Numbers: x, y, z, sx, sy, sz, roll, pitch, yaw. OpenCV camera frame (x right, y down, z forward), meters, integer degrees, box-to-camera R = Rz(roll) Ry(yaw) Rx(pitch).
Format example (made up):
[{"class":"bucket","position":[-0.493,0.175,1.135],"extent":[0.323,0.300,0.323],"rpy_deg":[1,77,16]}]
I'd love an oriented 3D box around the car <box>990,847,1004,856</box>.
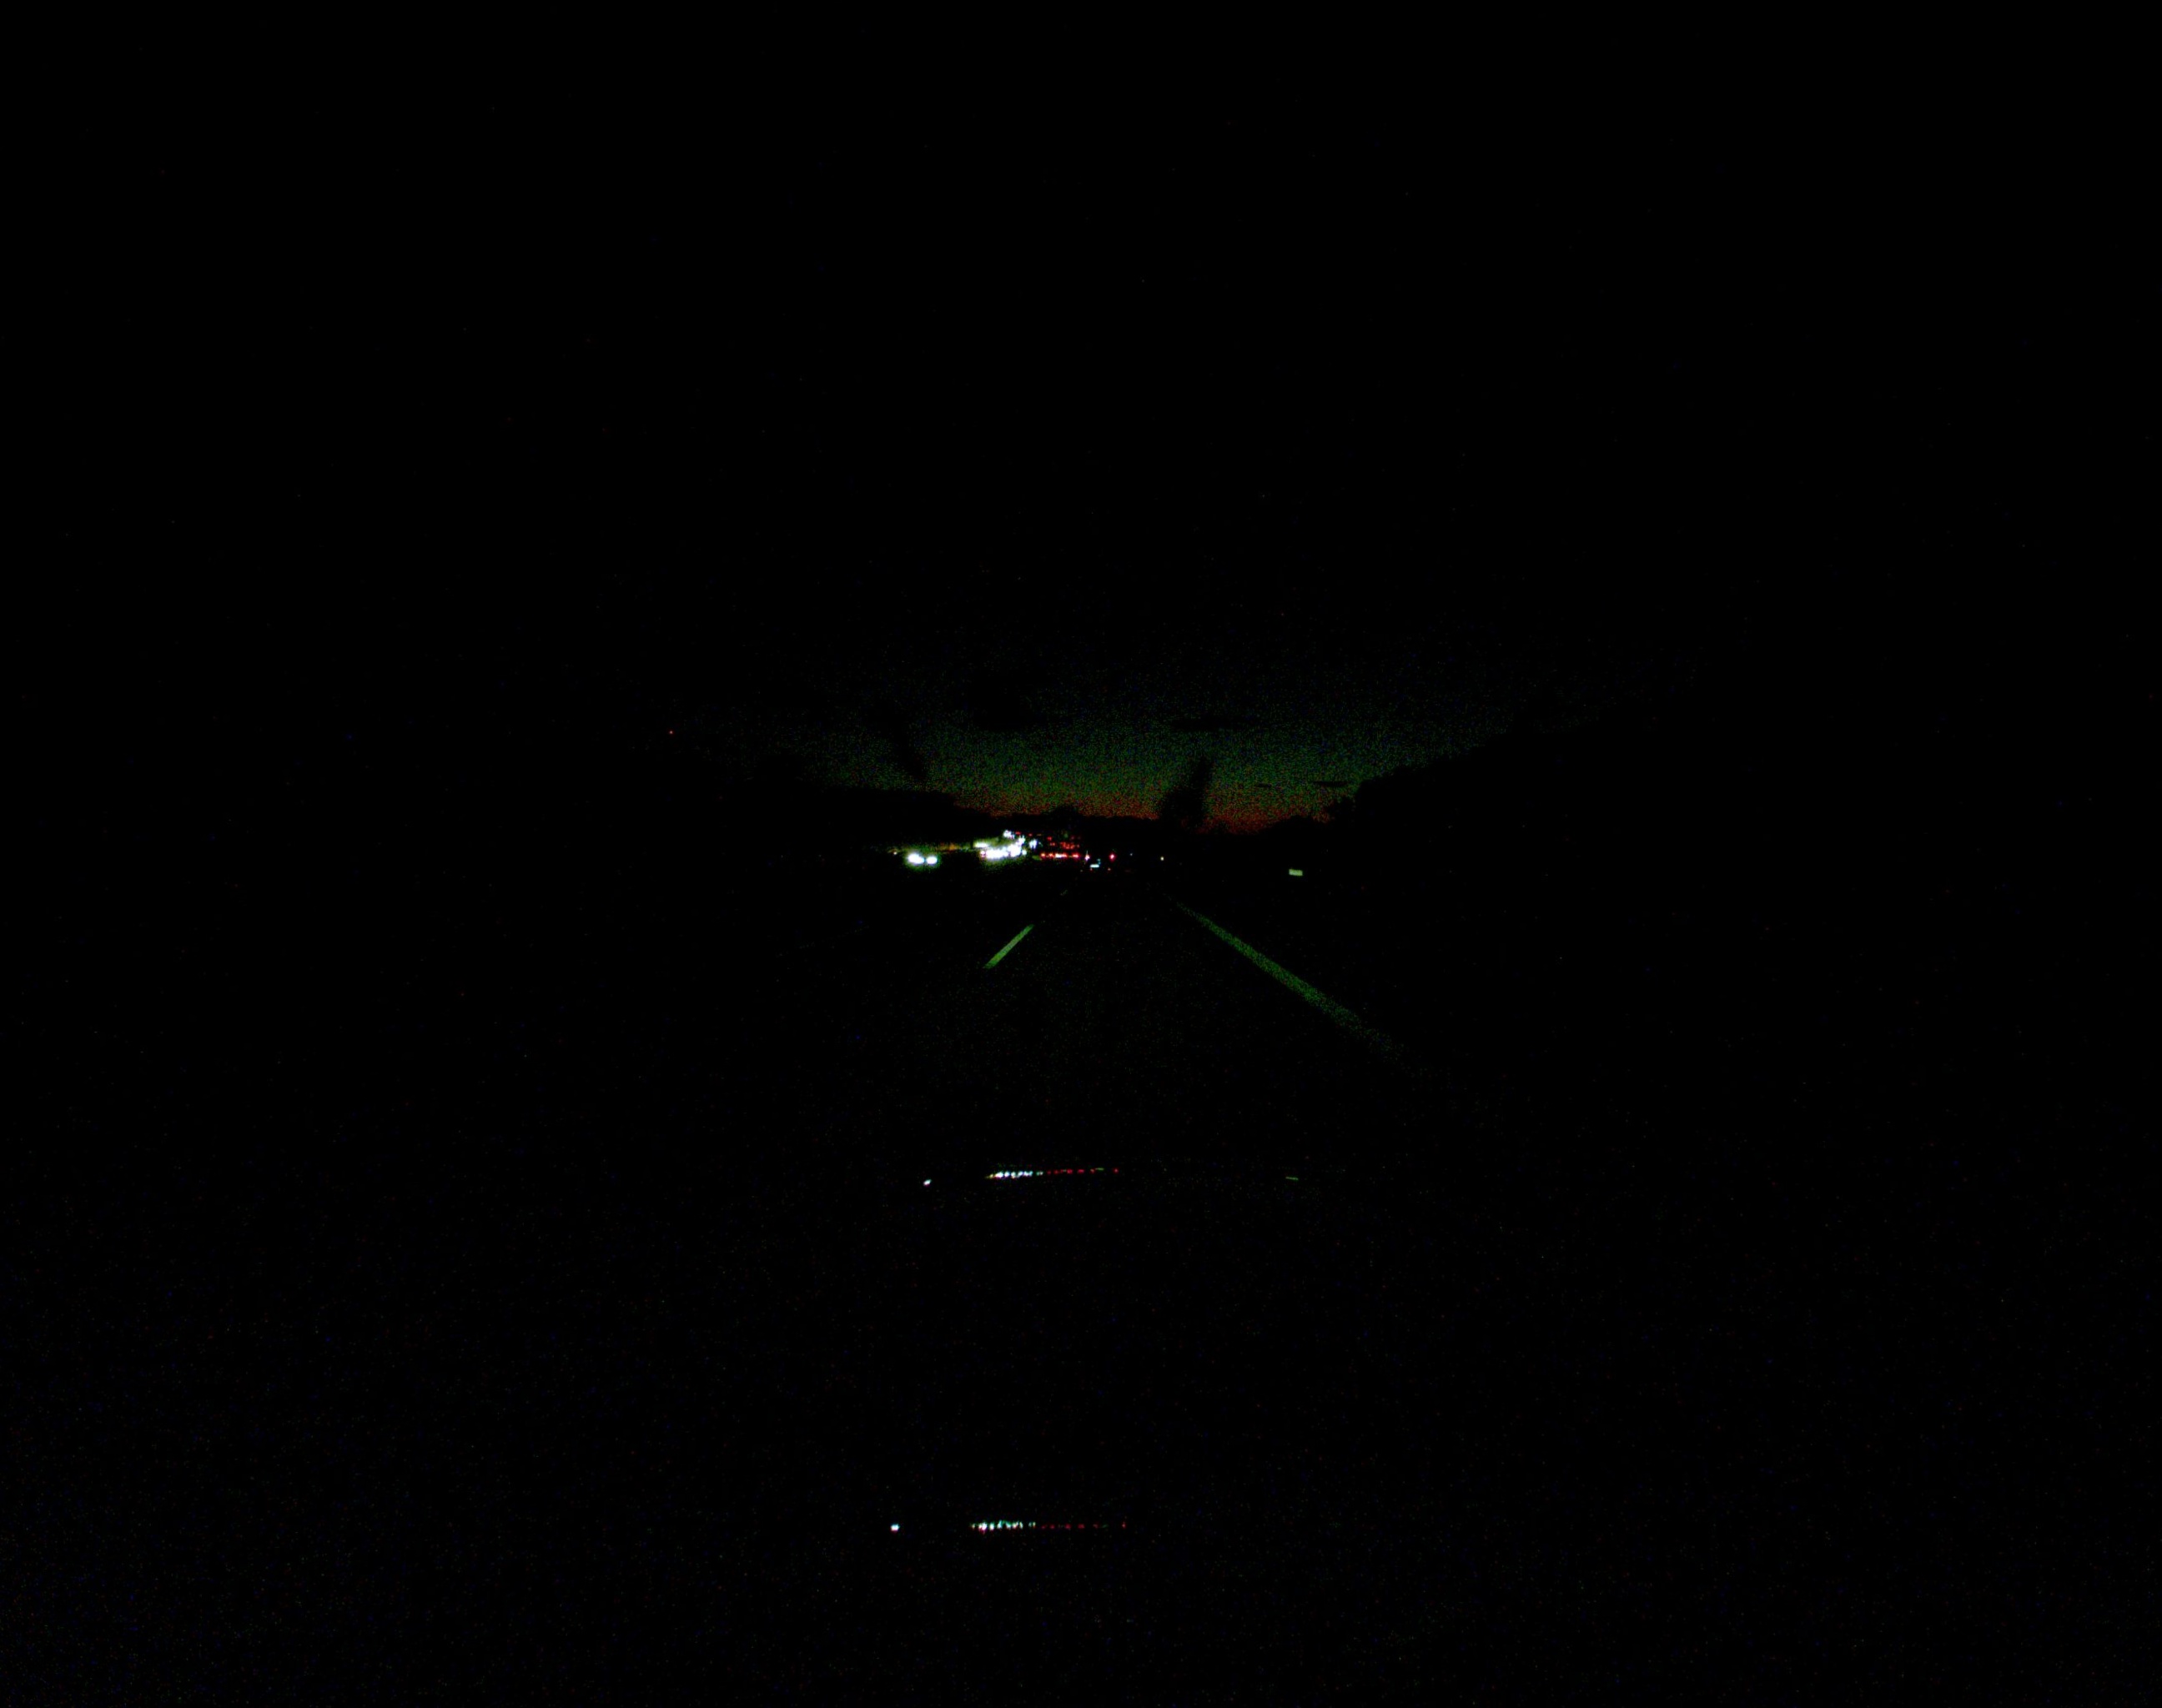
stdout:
[{"class":"car","position":[-16.849,-0.564,163.743],"extent":[2.097,1.789,4.871],"rpy_deg":[0,1,1]}]

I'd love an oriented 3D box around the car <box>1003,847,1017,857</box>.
[{"class":"car","position":[-12.946,-0.318,148.755],"extent":[2.097,1.789,4.320],"rpy_deg":[0,-1,1]}]

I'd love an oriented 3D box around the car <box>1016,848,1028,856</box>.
[{"class":"car","position":[-13.526,-0.510,186.901],"extent":[2.097,1.789,4.871],"rpy_deg":[0,1,1]}]

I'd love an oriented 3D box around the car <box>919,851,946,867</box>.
[{"class":"car","position":[-16.541,0.568,90.837],"extent":[2.097,1.789,4.660],"rpy_deg":[0,-1,1]}]

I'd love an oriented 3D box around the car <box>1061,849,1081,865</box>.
[{"class":"car","position":[-1.138,0.379,94.291],"extent":[1.985,1.721,5.946],"rpy_deg":[-1,-1,3]}]

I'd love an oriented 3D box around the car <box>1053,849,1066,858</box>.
[{"class":"car","position":[-3.659,-0.156,139.042],"extent":[1.772,1.487,5.258],"rpy_deg":[0,0,3]}]

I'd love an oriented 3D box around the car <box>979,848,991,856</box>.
[{"class":"car","position":[-21.856,-0.442,185.271],"extent":[2.097,1.789,4.870],"rpy_deg":[0,-1,1]}]

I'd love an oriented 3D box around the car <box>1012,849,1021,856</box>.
[{"class":"car","position":[-18.861,-0.439,236.982],"extent":[2.097,1.789,4.652],"rpy_deg":[0,-1,1]}]

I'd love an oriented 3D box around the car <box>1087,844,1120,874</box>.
[{"class":"car","position":[1.532,0.314,56.570],"extent":[2.189,1.955,4.763],"rpy_deg":[-1,0,0]}]

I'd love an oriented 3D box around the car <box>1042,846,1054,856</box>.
[{"class":"car","position":[-5.109,-0.429,127.562],"extent":[1.544,1.431,5.516],"rpy_deg":[-1,-1,2]}]

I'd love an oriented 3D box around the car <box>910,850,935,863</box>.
[{"class":"car","position":[-21.012,0.301,108.059],"extent":[2.097,1.688,5.388],"rpy_deg":[0,-1,1]}]
